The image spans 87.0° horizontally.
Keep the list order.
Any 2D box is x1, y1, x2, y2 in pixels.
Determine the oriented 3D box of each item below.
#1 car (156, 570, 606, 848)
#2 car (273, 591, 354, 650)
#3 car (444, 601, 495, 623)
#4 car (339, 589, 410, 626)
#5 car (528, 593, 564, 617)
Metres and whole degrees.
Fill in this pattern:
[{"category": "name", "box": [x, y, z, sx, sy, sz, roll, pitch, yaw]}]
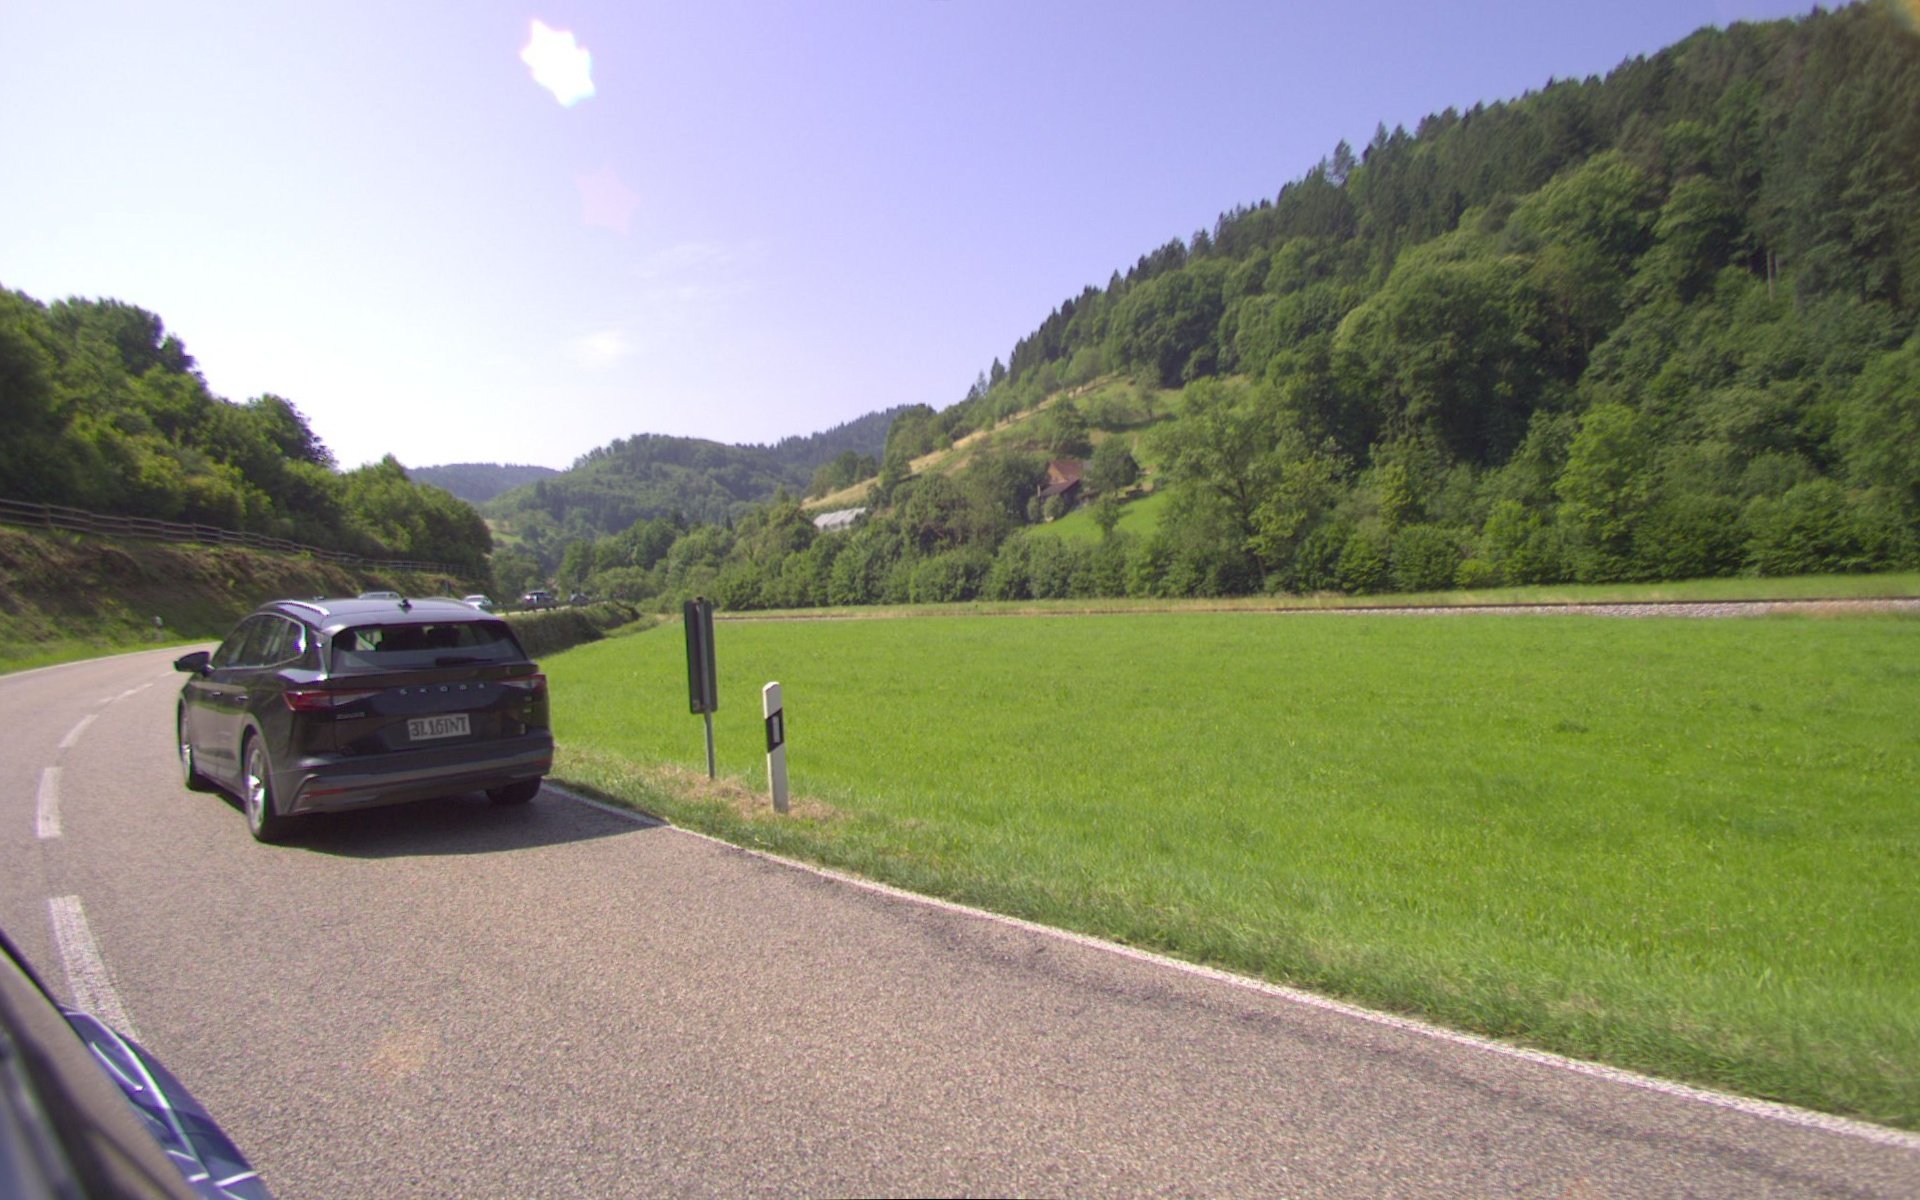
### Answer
[{"category": "car", "box": [-4.820, 0.662, 8.084, 4.595, 1.599, 1.855, -1, -2, 43]}, {"category": "car", "box": [-20.791, 0.623, 32.717, 1.922, 1.753, 4.911, 0, 0, -29]}, {"category": "car", "box": [-35.411, 0.818, 73.192, 2.113, 1.502, 4.682, -1, 0, -10]}, {"category": "car", "box": [-31.694, 0.409, 54.952, 2.084, 1.828, 4.467, -3, 0, -13]}, {"category": "car", "box": [-32.799, 0.366, 80.175, 1.686, 1.687, 4.008, -3, 1, -9]}]
